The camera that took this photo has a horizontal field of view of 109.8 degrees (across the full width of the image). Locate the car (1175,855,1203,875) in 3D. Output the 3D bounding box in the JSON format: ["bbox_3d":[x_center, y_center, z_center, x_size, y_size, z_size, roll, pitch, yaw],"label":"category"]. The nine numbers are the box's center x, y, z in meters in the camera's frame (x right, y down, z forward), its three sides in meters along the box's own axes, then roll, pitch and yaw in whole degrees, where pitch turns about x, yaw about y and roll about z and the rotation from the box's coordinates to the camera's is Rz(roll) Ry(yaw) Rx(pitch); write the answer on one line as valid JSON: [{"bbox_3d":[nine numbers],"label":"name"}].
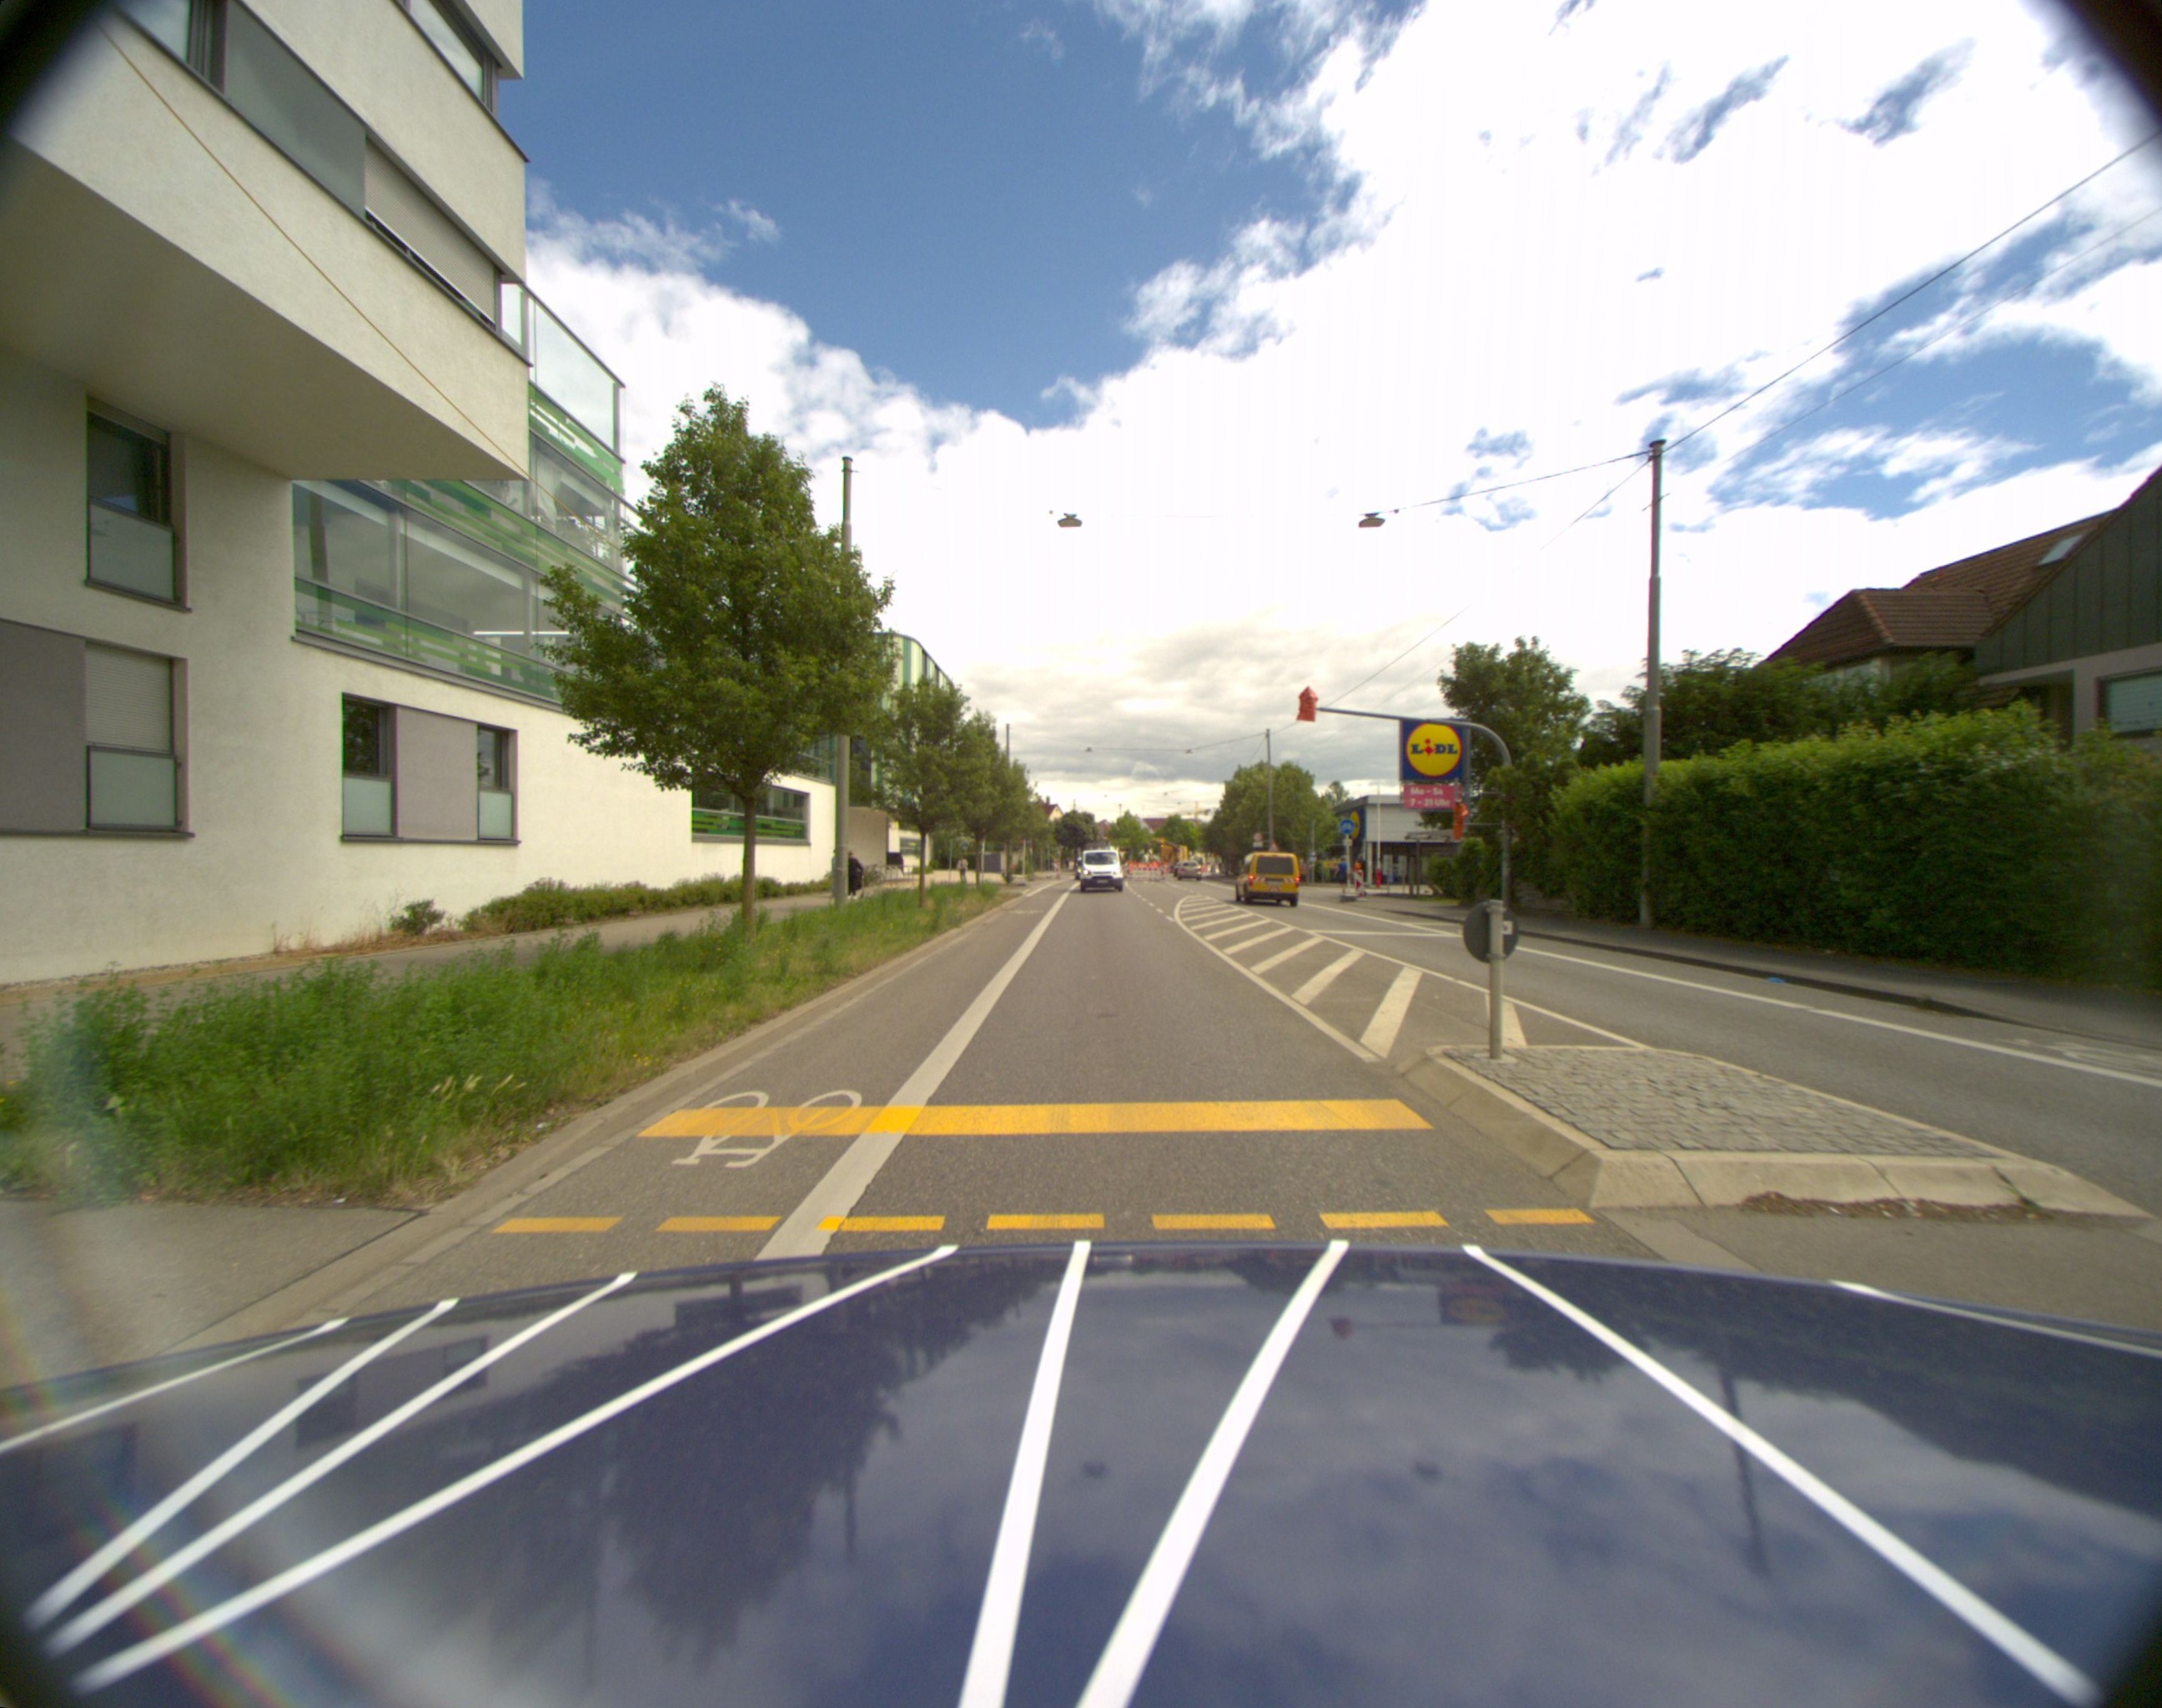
[{"bbox_3d":[8.714,0.847,61.585,1.754,1.546,4.402,1,0,1],"label":"car"}]

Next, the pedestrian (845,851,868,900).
[{"bbox_3d":[-7.595,0.727,25.700,0.606,1.645,0.552,1,1,1],"label":"pedestrian"}]

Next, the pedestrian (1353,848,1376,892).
[{"bbox_3d":[12.043,0.682,32.312,0.683,1.844,0.706,1,1,1],"label":"pedestrian"}]

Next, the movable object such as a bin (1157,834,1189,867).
[{"bbox_3d":[12.550,-0.405,102.746,2.594,4.197,11.134,1,0,15],"label":"movable object such as a bin"}]

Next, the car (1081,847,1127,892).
[{"bbox_3d":[1.036,0.671,36.425,1.998,2.002,5.513,-1,0,0],"label":"car"}]

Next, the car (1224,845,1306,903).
[{"bbox_3d":[6.532,0.655,27.460,1.846,1.893,4.685,1,0,1],"label":"car"}]

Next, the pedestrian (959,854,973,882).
[{"bbox_3d":[-6.500,0.794,42.968,0.582,1.542,0.869,1,1,1],"label":"pedestrian"}]

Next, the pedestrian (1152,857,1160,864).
[{"bbox_3d":[9.451,0.823,96.062,0.641,0.985,0.795,2,1,39],"label":"pedestrian"}]

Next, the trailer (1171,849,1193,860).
[{"bbox_3d":[21.185,0.191,158.896,2.594,2.232,5.685,-2,-1,28],"label":"trailer"}]

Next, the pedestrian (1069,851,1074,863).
[{"bbox_3d":[-1.298,0.373,102.485,0.522,1.531,0.636,1,1,-5],"label":"pedestrian"}]

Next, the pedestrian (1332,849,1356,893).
[{"bbox_3d":[11.209,0.695,32.356,0.683,1.844,0.892,1,1,1],"label":"pedestrian"}]

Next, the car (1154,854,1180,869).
[{"bbox_3d":[8.604,0.719,76.357,1.998,1.391,4.811,2,0,1],"label":"car"}]

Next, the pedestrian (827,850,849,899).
[{"bbox_3d":[-8.337,0.695,26.068,0.551,1.645,0.607,1,1,1],"label":"pedestrian"}]

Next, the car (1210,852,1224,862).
[{"bbox_3d":[20.958,0.488,117.149,1.858,1.504,4.001,1,0,5],"label":"car"}]

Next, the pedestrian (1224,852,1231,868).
[{"bbox_3d":[17.449,0.737,90.215,0.625,1.836,0.624,1,1,29],"label":"pedestrian"}]

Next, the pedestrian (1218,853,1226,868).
[{"bbox_3d":[16.857,0.806,90.970,0.695,1.836,0.624,1,1,29],"label":"pedestrian"}]

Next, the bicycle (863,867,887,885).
[{"bbox_3d":[-9.972,1.061,36.795,1.027,0.837,0.306,1,1,-31],"label":"bicycle"}]

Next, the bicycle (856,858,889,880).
[{"bbox_3d":[-9.818,0.712,35.751,1.470,1.039,0.307,1,1,-11],"label":"bicycle"}]

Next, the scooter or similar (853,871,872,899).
[{"bbox_3d":[-7.526,1.064,26.172,0.422,0.900,0.682,1,1,1],"label":"scooter or similar"}]

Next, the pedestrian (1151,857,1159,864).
[{"bbox_3d":[9.495,0.834,97.137,0.791,0.985,0.813,2,1,29],"label":"pedestrian"}]

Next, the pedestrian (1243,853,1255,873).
[{"bbox_3d":[13.444,0.726,60.766,0.754,1.593,0.829,1,1,-1],"label":"pedestrian"}]
